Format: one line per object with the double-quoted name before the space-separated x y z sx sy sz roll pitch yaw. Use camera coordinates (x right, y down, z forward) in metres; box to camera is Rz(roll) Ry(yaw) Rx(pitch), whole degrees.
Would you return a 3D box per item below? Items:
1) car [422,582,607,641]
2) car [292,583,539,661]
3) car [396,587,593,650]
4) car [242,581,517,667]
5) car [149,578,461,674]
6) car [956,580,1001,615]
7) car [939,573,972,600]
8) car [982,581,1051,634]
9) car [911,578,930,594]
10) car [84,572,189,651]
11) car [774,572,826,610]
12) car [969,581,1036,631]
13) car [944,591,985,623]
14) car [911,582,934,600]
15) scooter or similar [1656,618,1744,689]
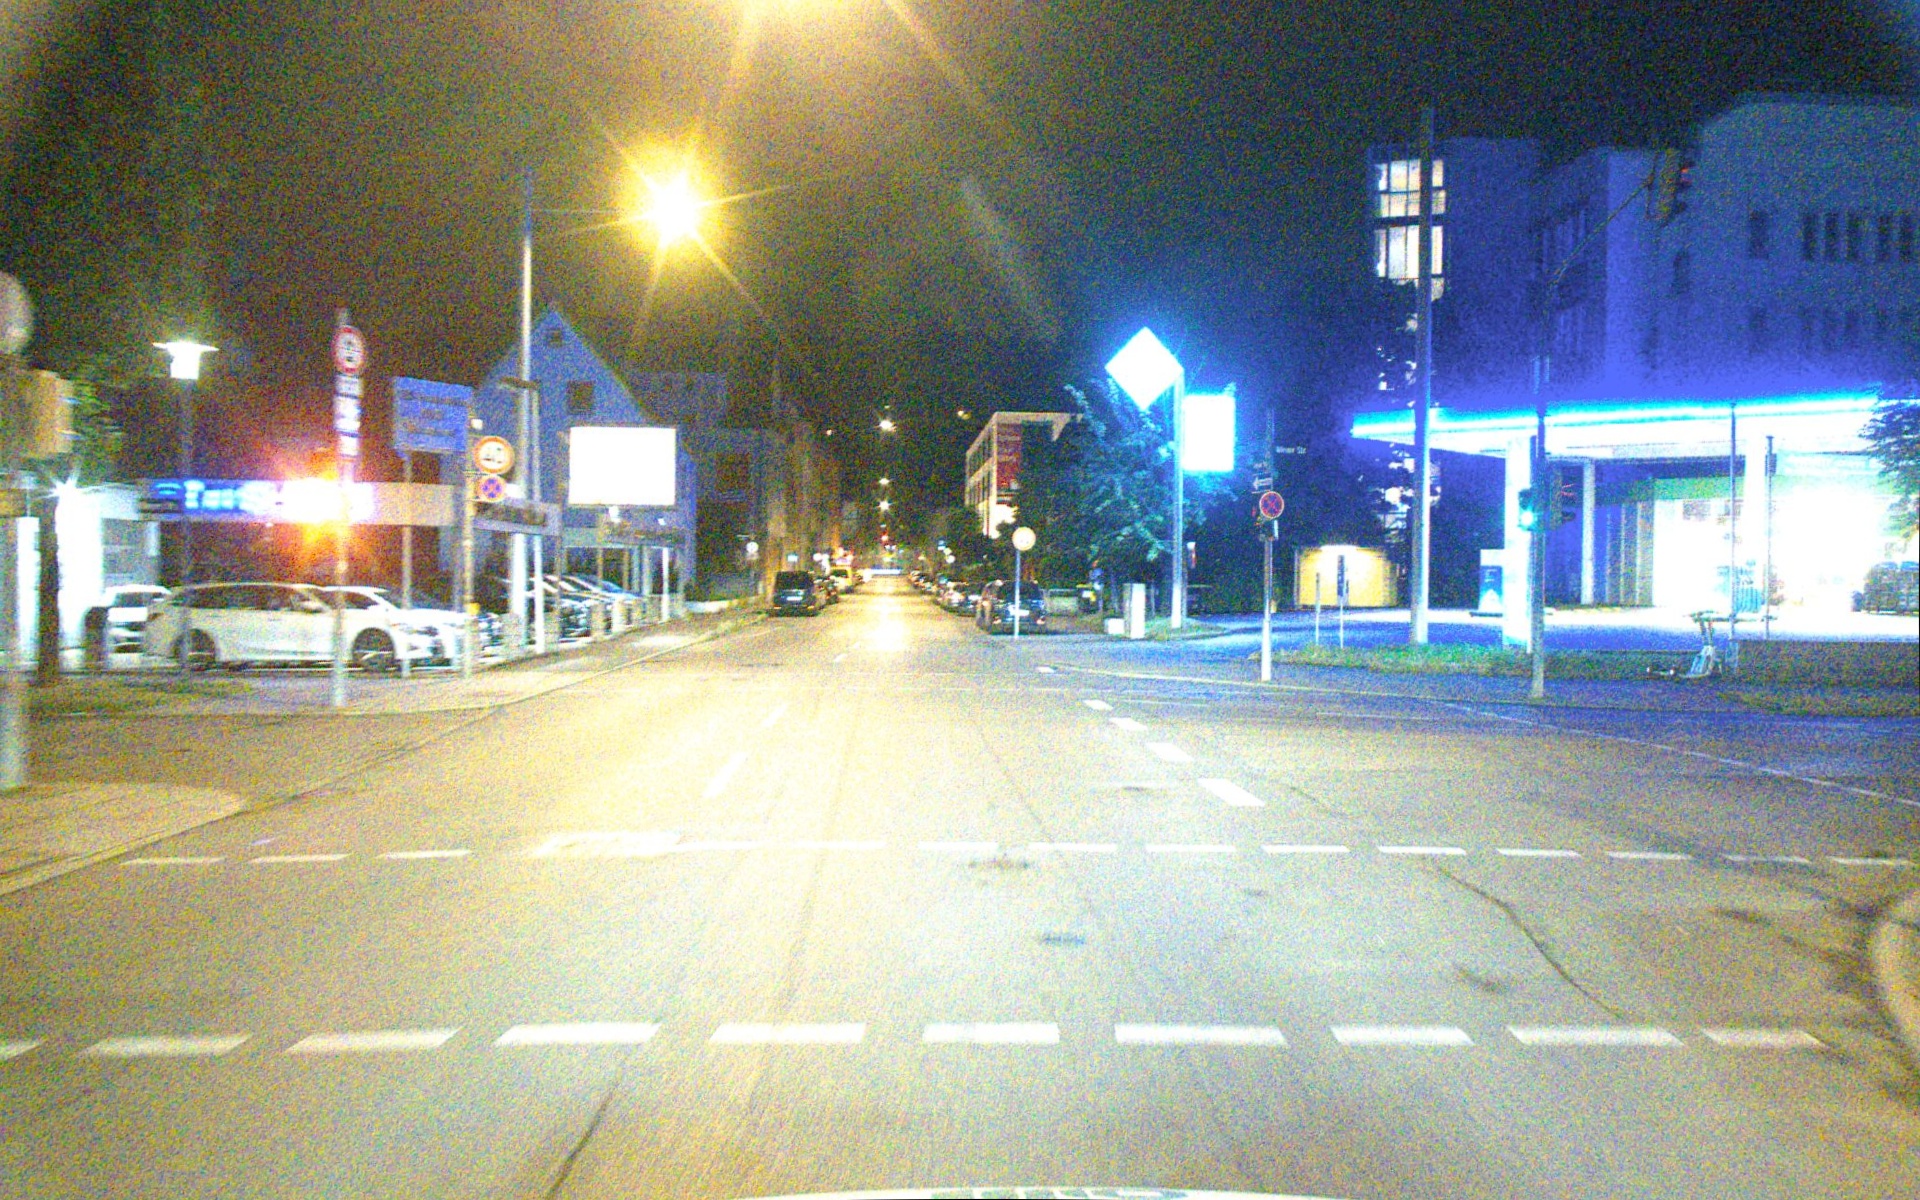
"car" -11.671 0.295 43.534 4.350 1.475 1.999 1 0 -3
"car" -10.972 0.437 33.561 4.350 1.475 1.999 1 0 -3
"car" -11.488 0.450 41.075 4.350 1.475 1.999 1 0 -3
"car" -10.580 0.433 30.425 4.351 1.475 1.998 1 0 -4
"car" -10.737 0.424 27.382 4.350 1.475 1.999 1 0 -3
"car" 0.810 -0.093 75.701 1.953 1.546 3.999 1 0 -1
"car" -0.304 -0.793 100.657 1.953 1.546 3.999 1 0 -1
"car" 1.727 0.194 51.862 1.953 1.542 3.999 1 1 -1
"car" -4.068 -1.420 170.909 1.953 1.546 3.999 1 0 -1
"car" -20.153 0.276 40.400 1.974 1.806 3.957 1 -1 -31
"car" -6.762 -0.371 70.121 1.953 1.528 3.998 1 0 -2
"car" 1.450 0.168 57.388 1.954 1.623 3.997 1 1 -4
"car" 0.201 0.349 82.804 1.953 1.546 3.999 1 0 -1
"car" -3.333 -0.780 147.795 1.953 1.546 3.999 1 0 -1
"scooter or similar" 12.395 0.876 27.691 1.665 1.111 0.706 -1 1 -41
